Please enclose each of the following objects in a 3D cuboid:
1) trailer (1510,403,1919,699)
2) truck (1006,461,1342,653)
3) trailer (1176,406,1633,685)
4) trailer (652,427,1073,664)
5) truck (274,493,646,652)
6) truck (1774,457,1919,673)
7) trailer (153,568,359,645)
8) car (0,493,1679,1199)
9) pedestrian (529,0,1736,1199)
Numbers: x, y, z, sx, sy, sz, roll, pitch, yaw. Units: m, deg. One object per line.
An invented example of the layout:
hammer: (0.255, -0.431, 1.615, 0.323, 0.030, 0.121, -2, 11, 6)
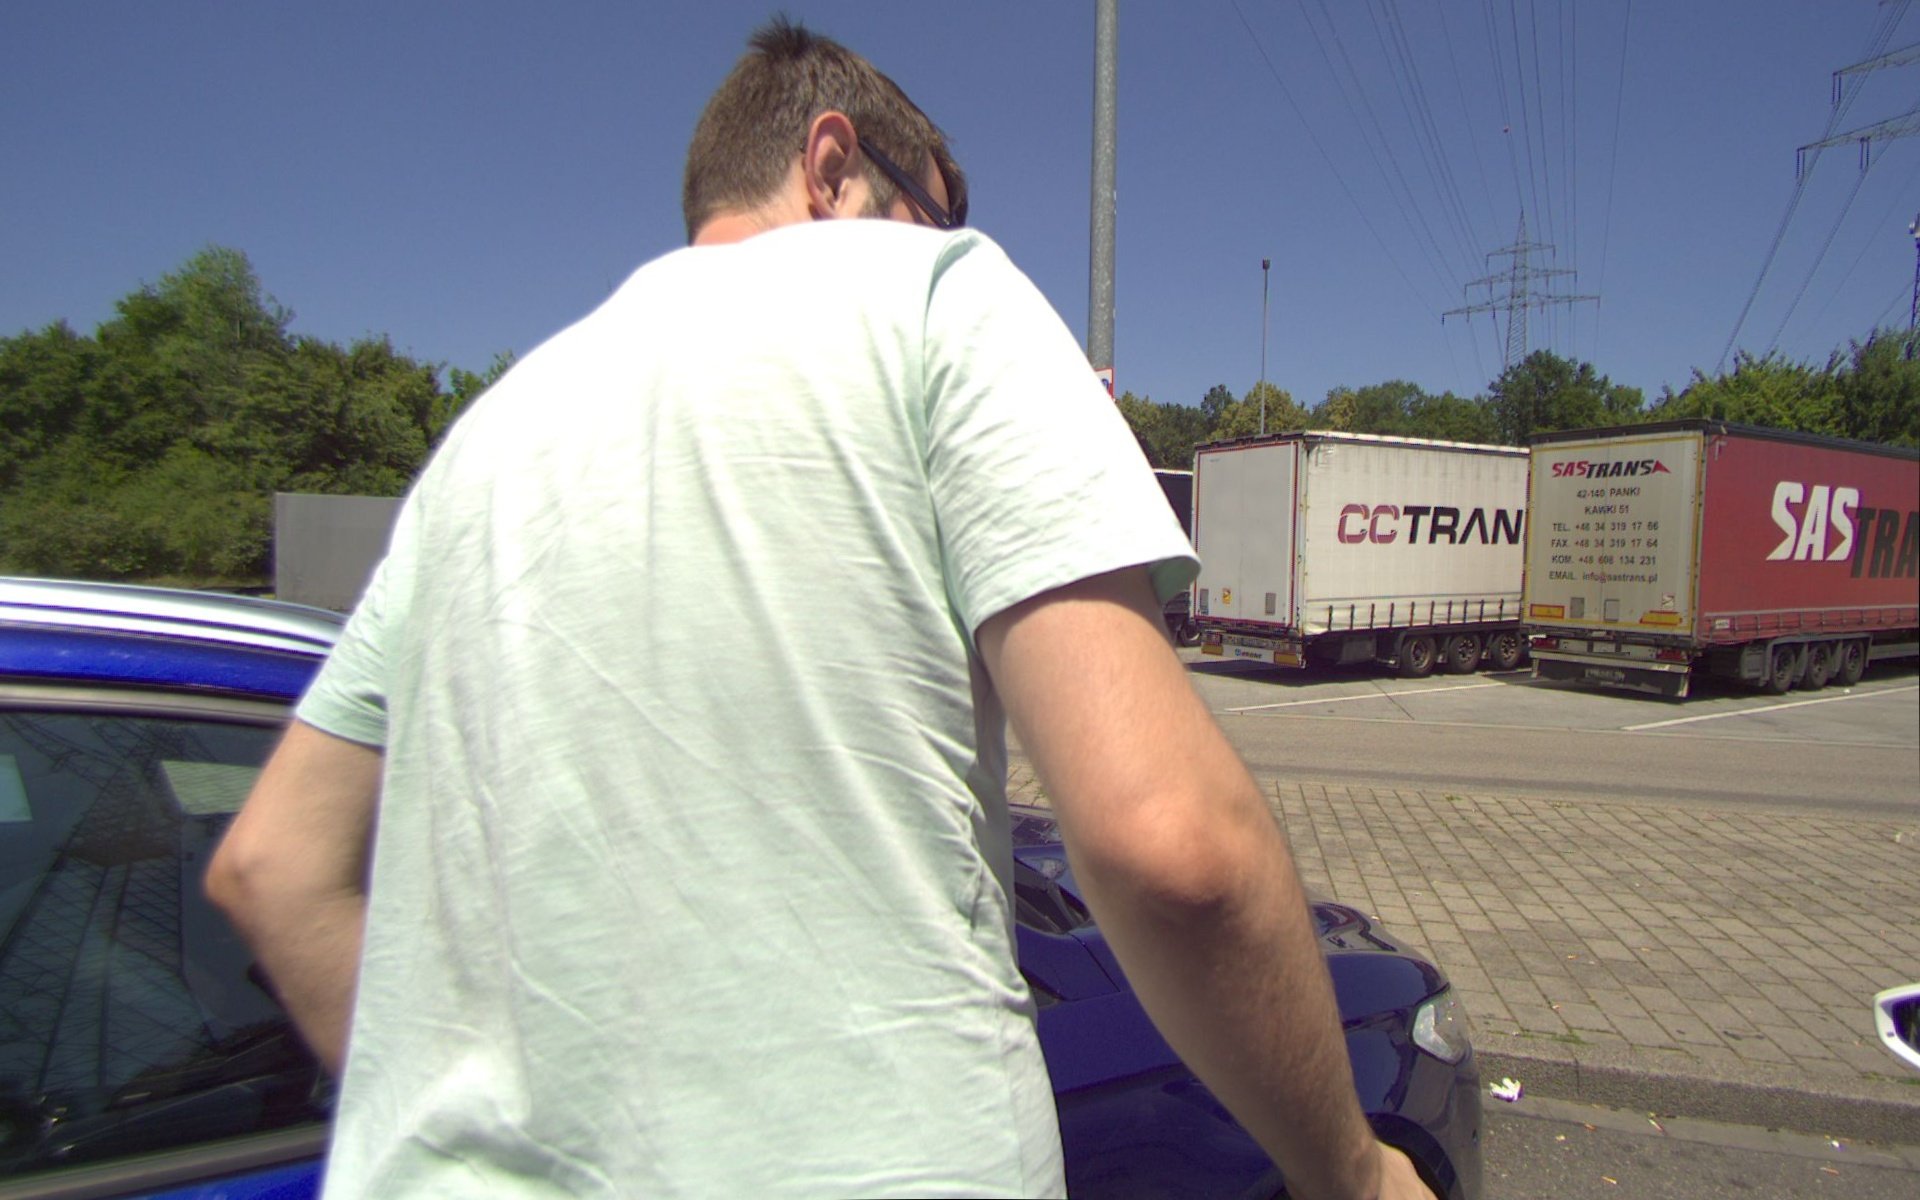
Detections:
trailer: (15.308, -0.668, 18.511, 13.129, 4.112, 2.736, 0, 1, -31)
truck: (5.407, -0.908, 24.585, 8.534, 4.073, 2.624, 0, 1, -30)
trailer: (8.717, -0.827, 19.110, 9.614, 4.321, 2.733, 0, 1, -29)
trailer: (-1.785, -0.915, 20.314, 8.158, 4.027, 2.651, 0, 1, -30)
truck: (-11.119, -0.565, 22.896, 7.265, 3.170, 2.352, 0, 1, -30)
truck: (20.824, -0.672, 21.773, 6.749, 4.136, 2.729, 0, 1, -31)
trailer: (-16.499, 0.150, 23.782, 3.856, 1.684, 1.464, 0, 1, -30)
car: (-1.006, 0.657, 1.468, 4.419, 1.485, 1.765, 0, 1, -32)
pedestrian: (0.030, 0.421, 0.741, 0.571, 1.732, 0.682, 0, 1, -30)
